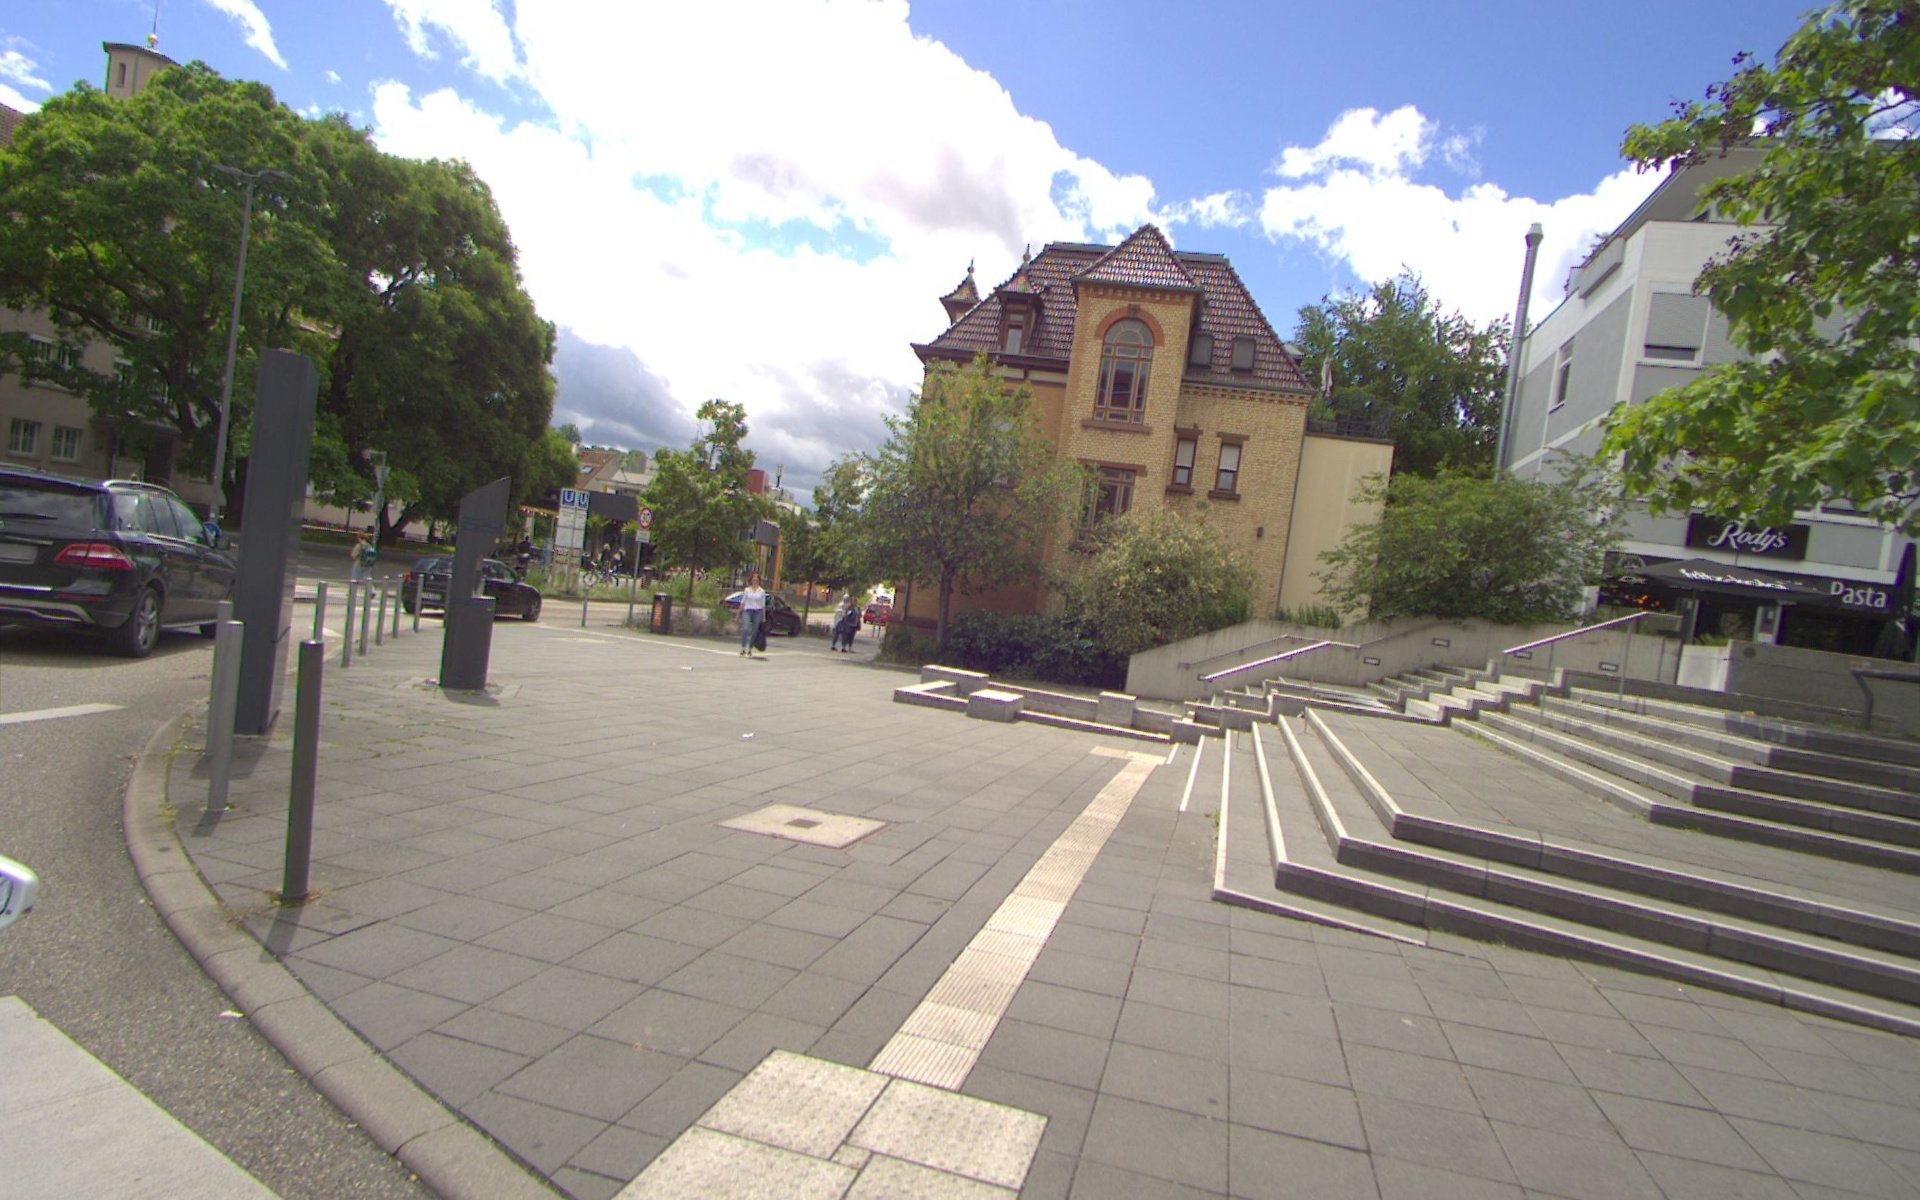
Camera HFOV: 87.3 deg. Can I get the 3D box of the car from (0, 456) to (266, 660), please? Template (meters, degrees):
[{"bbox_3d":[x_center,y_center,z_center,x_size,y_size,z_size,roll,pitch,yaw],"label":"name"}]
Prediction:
[{"bbox_3d":[-9.551,-0.516,11.054,2.006,1.749,4.412,7,0,-21],"label":"car"}]

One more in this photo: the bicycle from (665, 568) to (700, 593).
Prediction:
[{"bbox_3d":[-14.415,-1.025,52.207,1.543,1.082,0.539,8,1,10],"label":"bicycle"}]

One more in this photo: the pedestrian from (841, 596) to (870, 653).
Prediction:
[{"bbox_3d":[-3.194,0.748,30.740,0.506,1.649,0.500,6,0,-41],"label":"pedestrian"}]

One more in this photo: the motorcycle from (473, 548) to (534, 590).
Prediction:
[{"bbox_3d":[-17.592,-1.199,38.766,2.099,1.306,0.583,9,3,11],"label":"motorcycle"}]

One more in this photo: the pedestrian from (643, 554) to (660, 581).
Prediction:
[{"bbox_3d":[-18.429,-1.935,60.155,0.572,1.482,0.616,7,1,17],"label":"pedestrian"}]

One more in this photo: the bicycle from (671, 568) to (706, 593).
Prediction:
[{"bbox_3d":[-14.304,-1.031,52.987,1.543,1.104,0.578,8,1,10],"label":"bicycle"}]

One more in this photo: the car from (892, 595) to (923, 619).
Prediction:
[{"bbox_3d":[-4.197,0.571,81.425,1.813,1.542,4.001,10,0,3],"label":"car"}]

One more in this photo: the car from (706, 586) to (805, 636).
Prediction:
[{"bbox_3d":[-7.161,0.448,35.673,1.827,1.422,4.378,7,-1,10],"label":"car"}]

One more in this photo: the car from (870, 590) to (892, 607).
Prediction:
[{"bbox_3d":[-9.710,-0.249,123.606,1.819,1.627,3.988,10,0,-13],"label":"car"}]

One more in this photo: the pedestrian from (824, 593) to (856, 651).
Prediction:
[{"bbox_3d":[-3.595,0.658,30.087,0.548,1.649,0.672,6,0,-31],"label":"pedestrian"}]

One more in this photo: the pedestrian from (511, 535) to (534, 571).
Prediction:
[{"bbox_3d":[-20.646,-2.217,47.469,0.572,1.596,0.616,7,1,8],"label":"pedestrian"}]

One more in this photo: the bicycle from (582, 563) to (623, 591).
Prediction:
[{"bbox_3d":[-15.874,-1.037,44.668,1.586,1.009,0.500,8,1,15],"label":"bicycle"}]

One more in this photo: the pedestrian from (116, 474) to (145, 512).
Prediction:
[{"bbox_3d":[-36.213,-4.678,43.919,0.803,1.510,0.698,8,0,38],"label":"pedestrian"}]

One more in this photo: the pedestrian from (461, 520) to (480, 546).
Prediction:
[{"bbox_3d":[-33.071,-4.522,67.951,0.773,1.648,0.637,7,1,8],"label":"pedestrian"}]

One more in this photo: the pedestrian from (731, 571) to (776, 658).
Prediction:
[{"bbox_3d":[-4.406,0.306,21.522,0.695,1.768,0.775,7,1,-8],"label":"pedestrian"}]

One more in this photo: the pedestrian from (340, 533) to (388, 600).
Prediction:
[{"bbox_3d":[-14.959,-0.833,25.248,0.773,1.534,0.551,10,3,22],"label":"pedestrian"}]

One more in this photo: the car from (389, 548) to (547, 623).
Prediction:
[{"bbox_3d":[-11.282,-0.297,23.383,1.584,1.400,3.836,7,0,1],"label":"car"}]

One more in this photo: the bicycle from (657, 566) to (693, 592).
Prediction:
[{"bbox_3d":[-14.590,-1.085,51.456,1.543,1.104,0.578,8,1,10],"label":"bicycle"}]

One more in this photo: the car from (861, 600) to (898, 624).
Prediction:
[{"bbox_3d":[-5.366,0.831,67.547,1.583,1.400,3.838,7,0,7],"label":"car"}]

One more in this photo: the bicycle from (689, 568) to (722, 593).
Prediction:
[{"bbox_3d":[-13.882,-1.068,54.823,1.543,1.104,0.578,8,1,10],"label":"bicycle"}]

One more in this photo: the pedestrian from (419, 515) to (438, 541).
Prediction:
[{"bbox_3d":[-35.288,-4.761,66.841,0.624,1.596,0.789,7,1,9],"label":"pedestrian"}]
